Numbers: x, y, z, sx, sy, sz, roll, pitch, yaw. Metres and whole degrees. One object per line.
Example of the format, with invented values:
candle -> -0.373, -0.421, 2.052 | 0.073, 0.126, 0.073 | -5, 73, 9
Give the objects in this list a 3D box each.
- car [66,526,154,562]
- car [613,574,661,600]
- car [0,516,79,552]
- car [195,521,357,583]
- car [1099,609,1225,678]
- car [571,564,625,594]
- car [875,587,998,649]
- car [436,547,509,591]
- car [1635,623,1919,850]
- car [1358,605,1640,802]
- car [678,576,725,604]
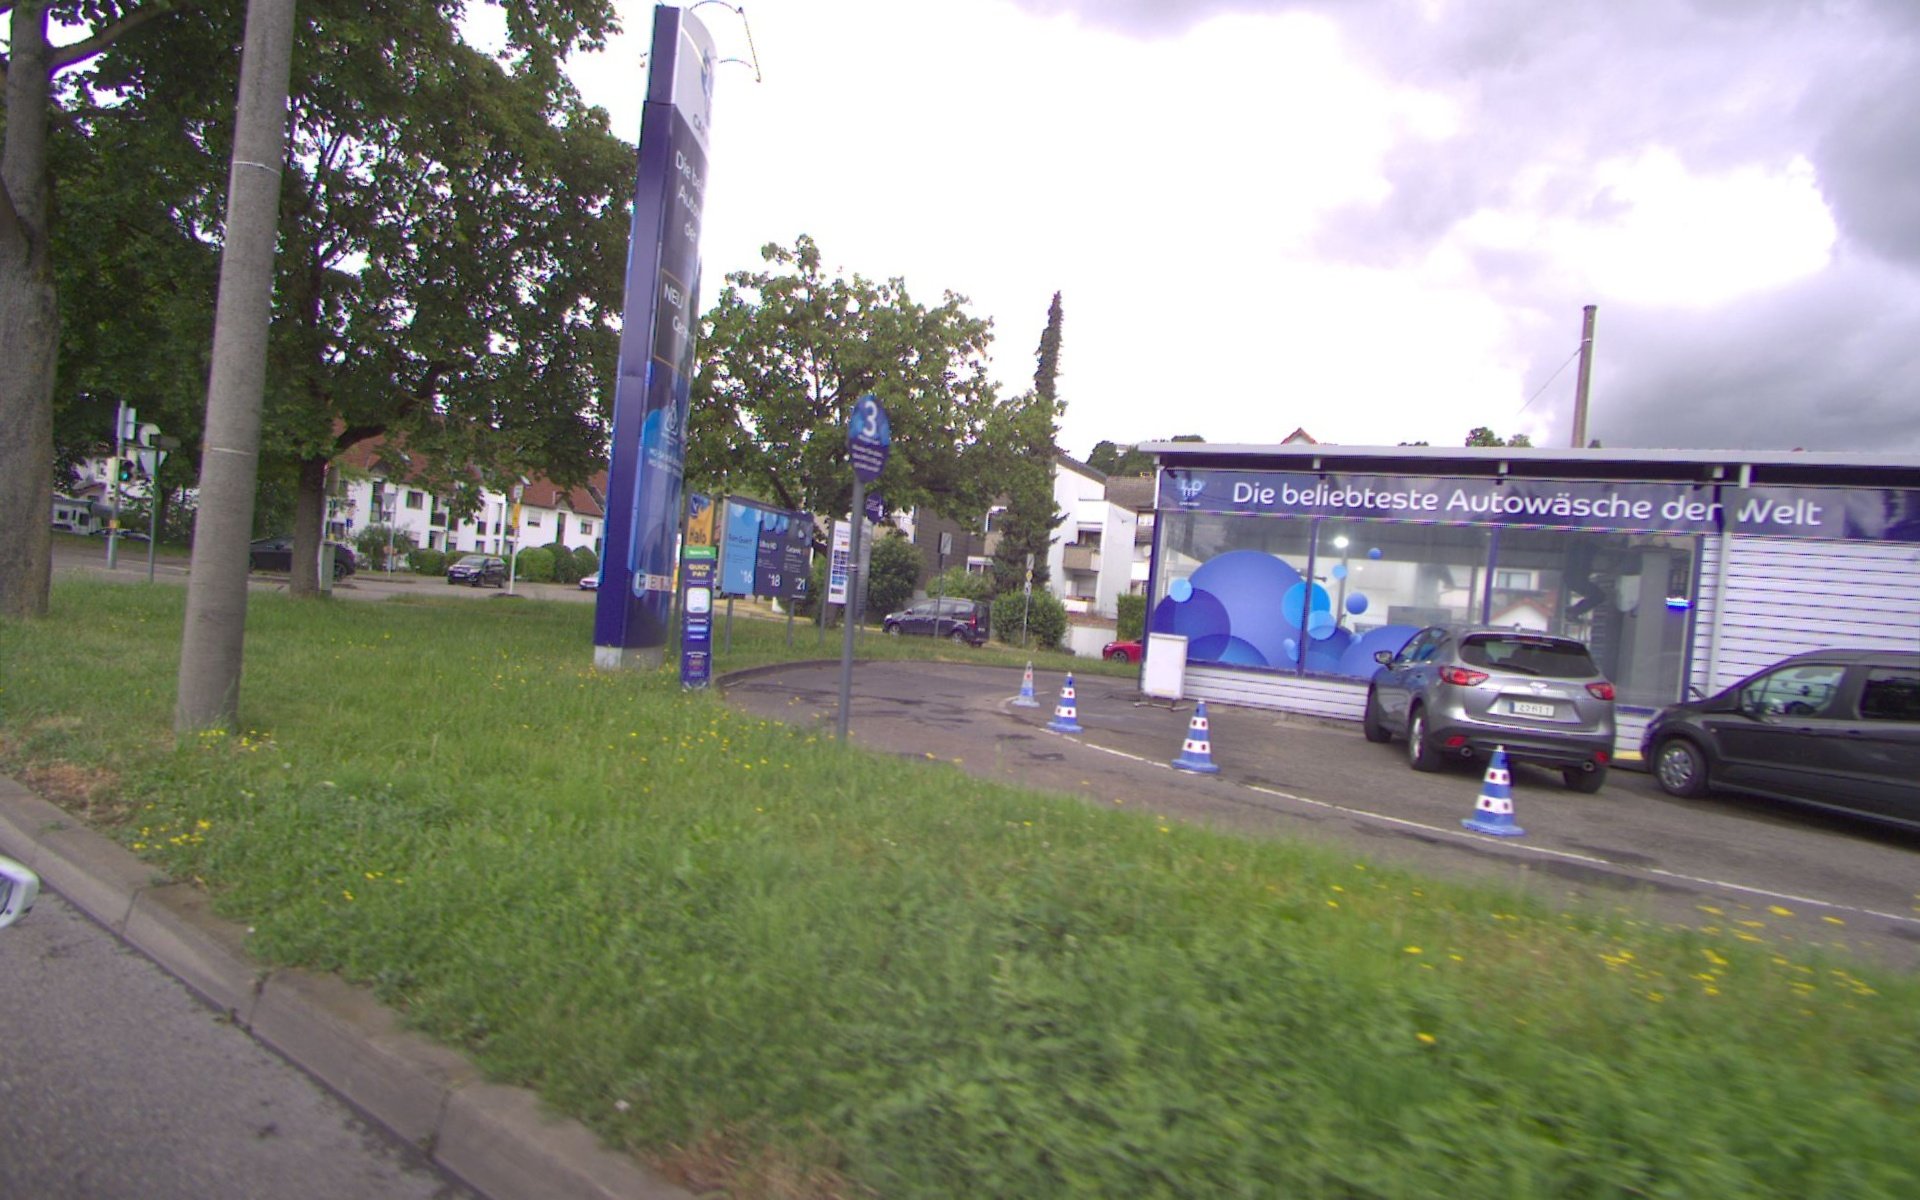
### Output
car -> -43.576, -2.867, 51.591 | 3.785, 1.260, 1.628 | 6, -2, 18
car -> -24.078, -0.923, 75.092 | 1.963, 1.442, 4.473 | 7, -3, 1
car -> -49.299, -3.533, 53.784 | 3.768, 1.402, 1.484 | 6, -2, 19
car -> -22.962, -1.575, 33.908 | 1.679, 1.544, 4.151 | 6, -1, 37
car -> 7.022, 1.514, 35.014 | 3.854, 1.863, 1.621 | 6, -2, 27
car -> -24.380, -1.381, 67.899 | 1.963, 1.442, 4.472 | 7, -3, -1
car -> -0.947, 0.687, 39.170 | 4.331, 1.863, 1.722 | 6, -2, 28
car -> -25.574, -1.582, 52.930 | 1.964, 1.785, 4.001 | 7, -2, -4
car -> 9.053, 1.306, 9.505 | 1.722, 1.844, 4.375 | 6, 0, -11
car -> 6.109, 1.055, 12.005 | 1.805, 1.719, 4.213 | 7, 0, 14
car -> -17.380, -0.639, 67.749 | 1.963, 1.536, 4.000 | 7, -1, 0
